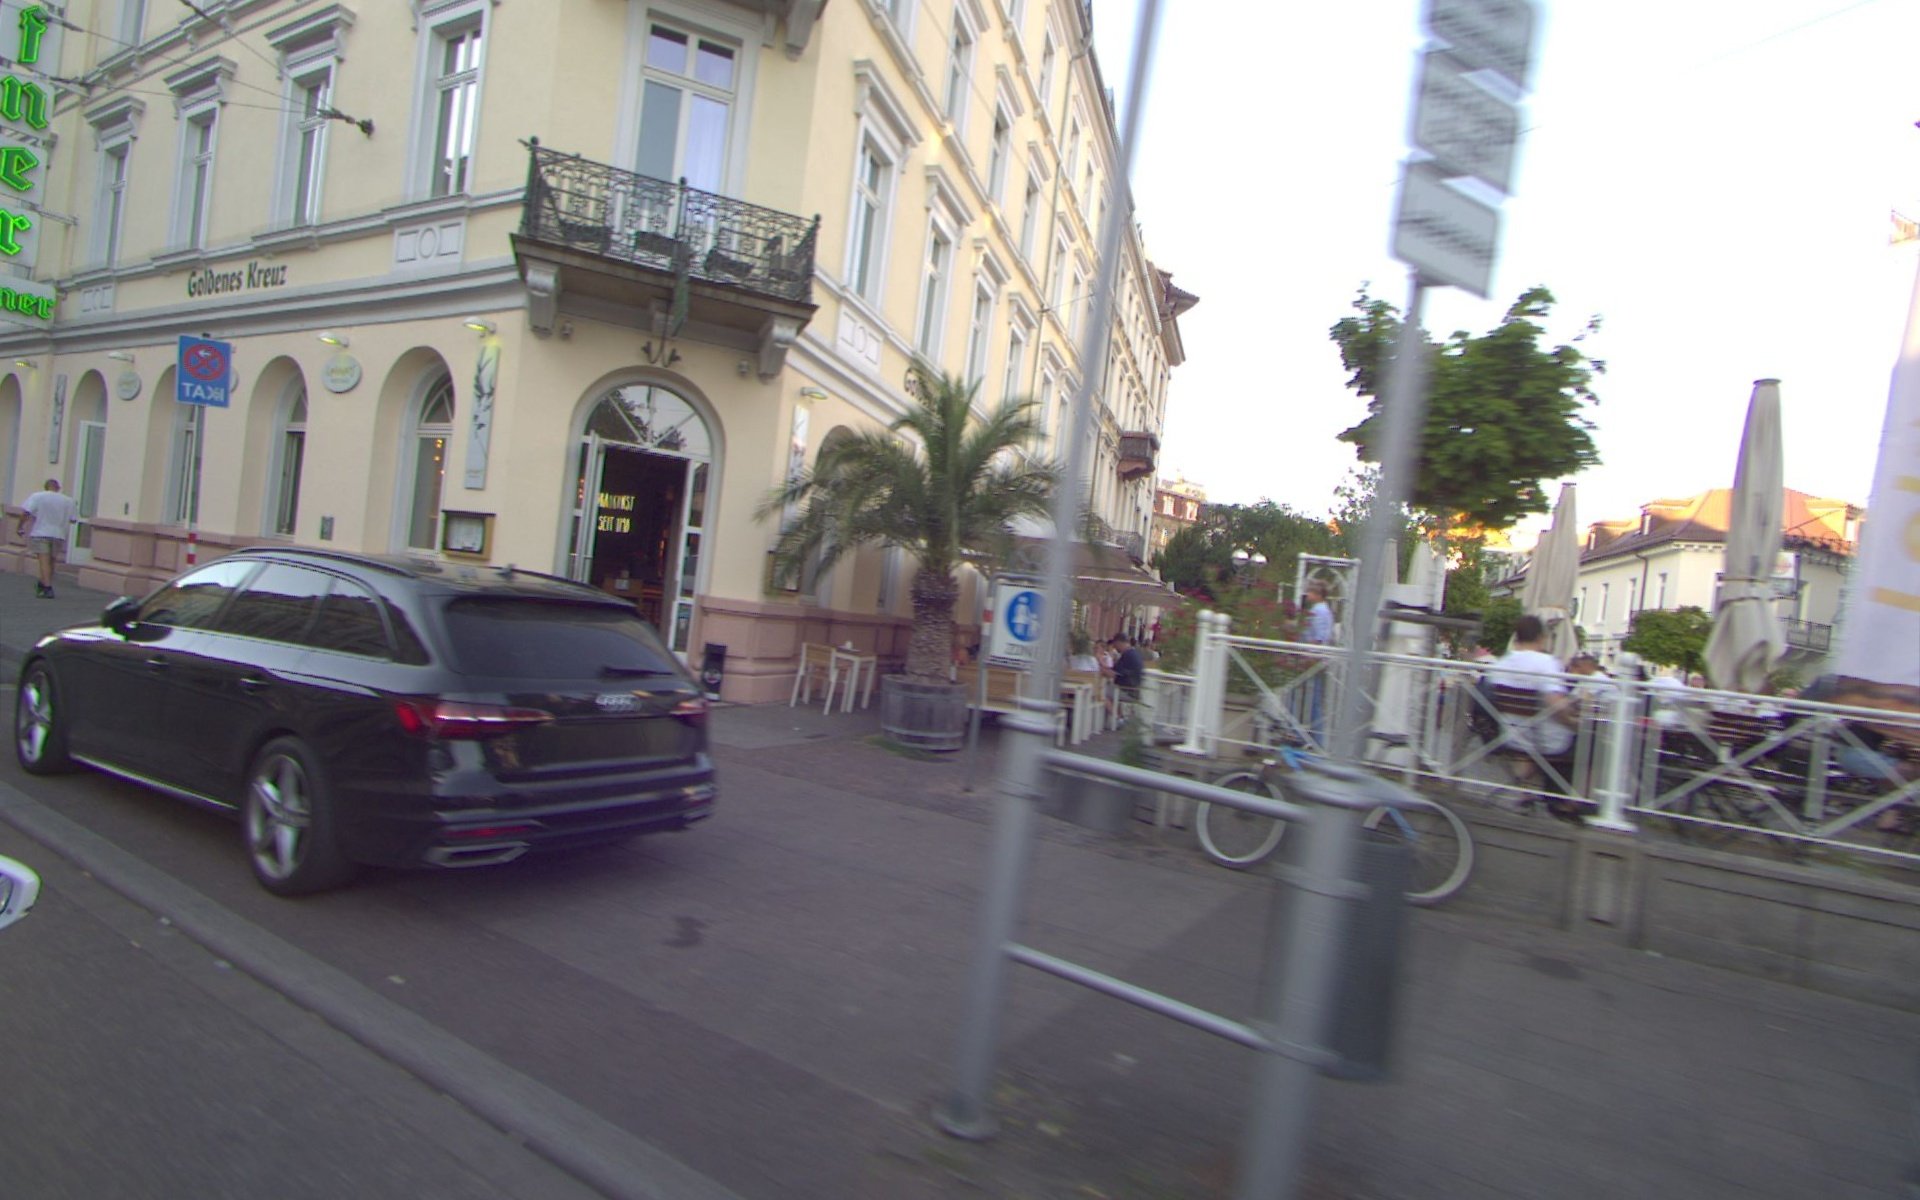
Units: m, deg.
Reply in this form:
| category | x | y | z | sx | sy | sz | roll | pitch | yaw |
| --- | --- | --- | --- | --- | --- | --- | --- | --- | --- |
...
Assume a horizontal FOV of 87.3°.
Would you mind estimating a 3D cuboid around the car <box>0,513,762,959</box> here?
| category | x | y | z | sx | sy | sz | roll | pitch | yaw |
| --- | --- | --- | --- | --- | --- | --- | --- | --- | --- |
| car | -3.369 | 0.427 | 5.444 | 4.473 | 1.408 | 1.698 | 6 | 0 | 32 |

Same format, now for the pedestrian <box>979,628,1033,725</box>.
| category | x | y | z | sx | sy | sz | roll | pitch | yaw |
| --- | --- | --- | --- | --- | --- | --- | --- | --- | --- |
| pedestrian | 0.666 | 1.087 | 14.380 | 0.481 | 1.296 | 0.596 | 7 | 0 | 19 |

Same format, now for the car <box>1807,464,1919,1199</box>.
| category | x | y | z | sx | sy | sz | roll | pitch | yaw |
| --- | --- | --- | --- | --- | --- | --- | --- | --- | --- |
| car | 4.067 | 0.884 | 0.559 | 5.130 | 2.093 | 1.854 | 6 | 0 | 32 |

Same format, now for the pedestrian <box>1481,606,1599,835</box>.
| category | x | y | z | sx | sy | sz | roll | pitch | yaw |
| --- | --- | --- | --- | --- | --- | --- | --- | --- | --- |
| pedestrian | 3.623 | 0.732 | 6.282 | 0.483 | 1.312 | 0.531 | 7 | 0 | 32 |

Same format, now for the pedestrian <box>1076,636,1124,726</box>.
| category | x | y | z | sx | sy | sz | roll | pitch | yaw |
| --- | --- | --- | --- | --- | --- | --- | --- | --- | --- |
| pedestrian | 2.108 | 1.207 | 15.110 | 0.481 | 1.265 | 0.596 | 7 | 0 | 19 |

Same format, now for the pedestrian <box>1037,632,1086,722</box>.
| category | x | y | z | sx | sy | sz | roll | pitch | yaw |
| --- | --- | --- | --- | --- | --- | --- | --- | --- | --- |
| pedestrian | 1.545 | 1.159 | 15.241 | 0.481 | 1.296 | 0.596 | 7 | 0 | 19 |

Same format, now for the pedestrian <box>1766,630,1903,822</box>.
| category | x | y | z | sx | sy | sz | roll | pitch | yaw |
| --- | --- | --- | --- | --- | --- | --- | --- | --- | --- |
| pedestrian | 8.489 | 1.201 | 9.799 | 0.719 | 1.713 | 0.590 | 7 | 0 | 25 |

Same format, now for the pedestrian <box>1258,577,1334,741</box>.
| category | x | y | z | sx | sy | sz | roll | pitch | yaw |
| --- | --- | --- | --- | --- | --- | --- | --- | --- | --- |
| pedestrian | 3.543 | 0.614 | 10.600 | 0.522 | 1.628 | 0.553 | 7 | 0 | 25 |

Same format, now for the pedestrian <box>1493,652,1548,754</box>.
| category | x | y | z | sx | sy | sz | roll | pitch | yaw |
| --- | --- | --- | --- | --- | --- | --- | --- | --- | --- |
| pedestrian | 7.915 | 1.440 | 14.198 | 0.523 | 1.349 | 0.490 | 7 | 0 | 32 |

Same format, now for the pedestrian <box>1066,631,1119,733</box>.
| category | x | y | z | sx | sy | sz | roll | pitch | yaw |
| --- | --- | --- | --- | --- | --- | --- | --- | --- | --- |
| pedestrian | 1.855 | 1.140 | 14.064 | 0.481 | 1.344 | 0.596 | 7 | 0 | 19 |

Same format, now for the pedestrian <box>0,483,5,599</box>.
| category | x | y | z | sx | sy | sz | roll | pitch | yaw |
| --- | --- | --- | --- | --- | --- | --- | --- | --- | --- |
| pedestrian | -14.371 | -0.877 | 14.615 | 0.613 | 1.713 | 0.482 | 2 | 5 | -29 |

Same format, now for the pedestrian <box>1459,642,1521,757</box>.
| category | x | y | z | sx | sy | sz | roll | pitch | yaw |
| --- | --- | --- | --- | --- | --- | --- | --- | --- | --- |
| pedestrian | 6.633 | 1.239 | 12.593 | 0.523 | 1.349 | 0.490 | 7 | 0 | 32 |

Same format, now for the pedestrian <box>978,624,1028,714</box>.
| category | x | y | z | sx | sy | sz | roll | pitch | yaw |
| --- | --- | --- | --- | --- | --- | --- | --- | --- | --- |
| pedestrian | 0.666 | 1.058 | 15.459 | 0.481 | 1.296 | 0.596 | 7 | 0 | 19 |

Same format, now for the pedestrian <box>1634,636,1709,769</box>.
| category | x | y | z | sx | sy | sz | roll | pitch | yaw |
| --- | --- | --- | --- | --- | --- | --- | --- | --- | --- |
| pedestrian | 9.733 | 1.392 | 13.783 | 0.580 | 1.717 | 0.532 | 7 | 0 | 25 |

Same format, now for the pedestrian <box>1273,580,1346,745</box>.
| category | x | y | z | sx | sy | sz | roll | pitch | yaw |
| --- | --- | --- | --- | --- | --- | --- | --- | --- | --- |
| pedestrian | 3.866 | 0.683 | 11.106 | 0.522 | 1.717 | 0.590 | 7 | 0 | 25 |

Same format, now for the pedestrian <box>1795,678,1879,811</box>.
| category | x | y | z | sx | sy | sz | roll | pitch | yaw |
| --- | --- | --- | --- | --- | --- | --- | --- | --- | --- |
| pedestrian | 9.560 | 1.557 | 10.980 | 0.483 | 1.349 | 0.531 | 7 | 0 | 32 |

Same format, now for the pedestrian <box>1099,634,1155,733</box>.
| category | x | y | z | sx | sy | sz | roll | pitch | yaw |
| --- | --- | --- | --- | --- | --- | --- | --- | --- | --- |
| pedestrian | 2.401 | 1.187 | 14.411 | 0.625 | 1.344 | 0.491 | 4 | -1 | 19 |

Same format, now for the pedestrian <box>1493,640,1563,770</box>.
| category | x | y | z | sx | sy | sz | roll | pitch | yaw |
| --- | --- | --- | --- | --- | --- | --- | --- | --- | --- |
| pedestrian | 6.297 | 1.154 | 11.155 | 0.523 | 1.349 | 0.490 | 7 | 0 | 32 |

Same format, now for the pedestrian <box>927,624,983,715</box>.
| category | x | y | z | sx | sy | sz | roll | pitch | yaw |
| --- | --- | --- | --- | --- | --- | --- | --- | --- | --- |
| pedestrian | -0.059 | 1.000 | 14.510 | 0.481 | 1.232 | 0.669 | 7 | 0 | 19 |

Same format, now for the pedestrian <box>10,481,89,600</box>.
| category | x | y | z | sx | sy | sz | roll | pitch | yaw |
| --- | --- | --- | --- | --- | --- | --- | --- | --- | --- |
| pedestrian | -13.669 | -0.878 | 15.109 | 0.542 | 1.713 | 0.759 | 7 | 5 | 31 |

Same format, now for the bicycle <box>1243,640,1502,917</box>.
| category | x | y | z | sx | sy | sz | roll | pitch | yaw |
| --- | --- | --- | --- | --- | --- | --- | --- | --- | --- |
| bicycle | 2.469 | 1.024 | 6.084 | 1.269 | 1.408 | 0.344 | 7 | 0 | 32 |

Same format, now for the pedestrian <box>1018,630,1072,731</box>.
| category | x | y | z | sx | sy | sz | roll | pitch | yaw |
| --- | --- | --- | --- | --- | --- | --- | --- | --- | --- |
| pedestrian | 1.204 | 1.125 | 14.168 | 0.481 | 1.344 | 0.596 | 7 | 0 | 19 |
